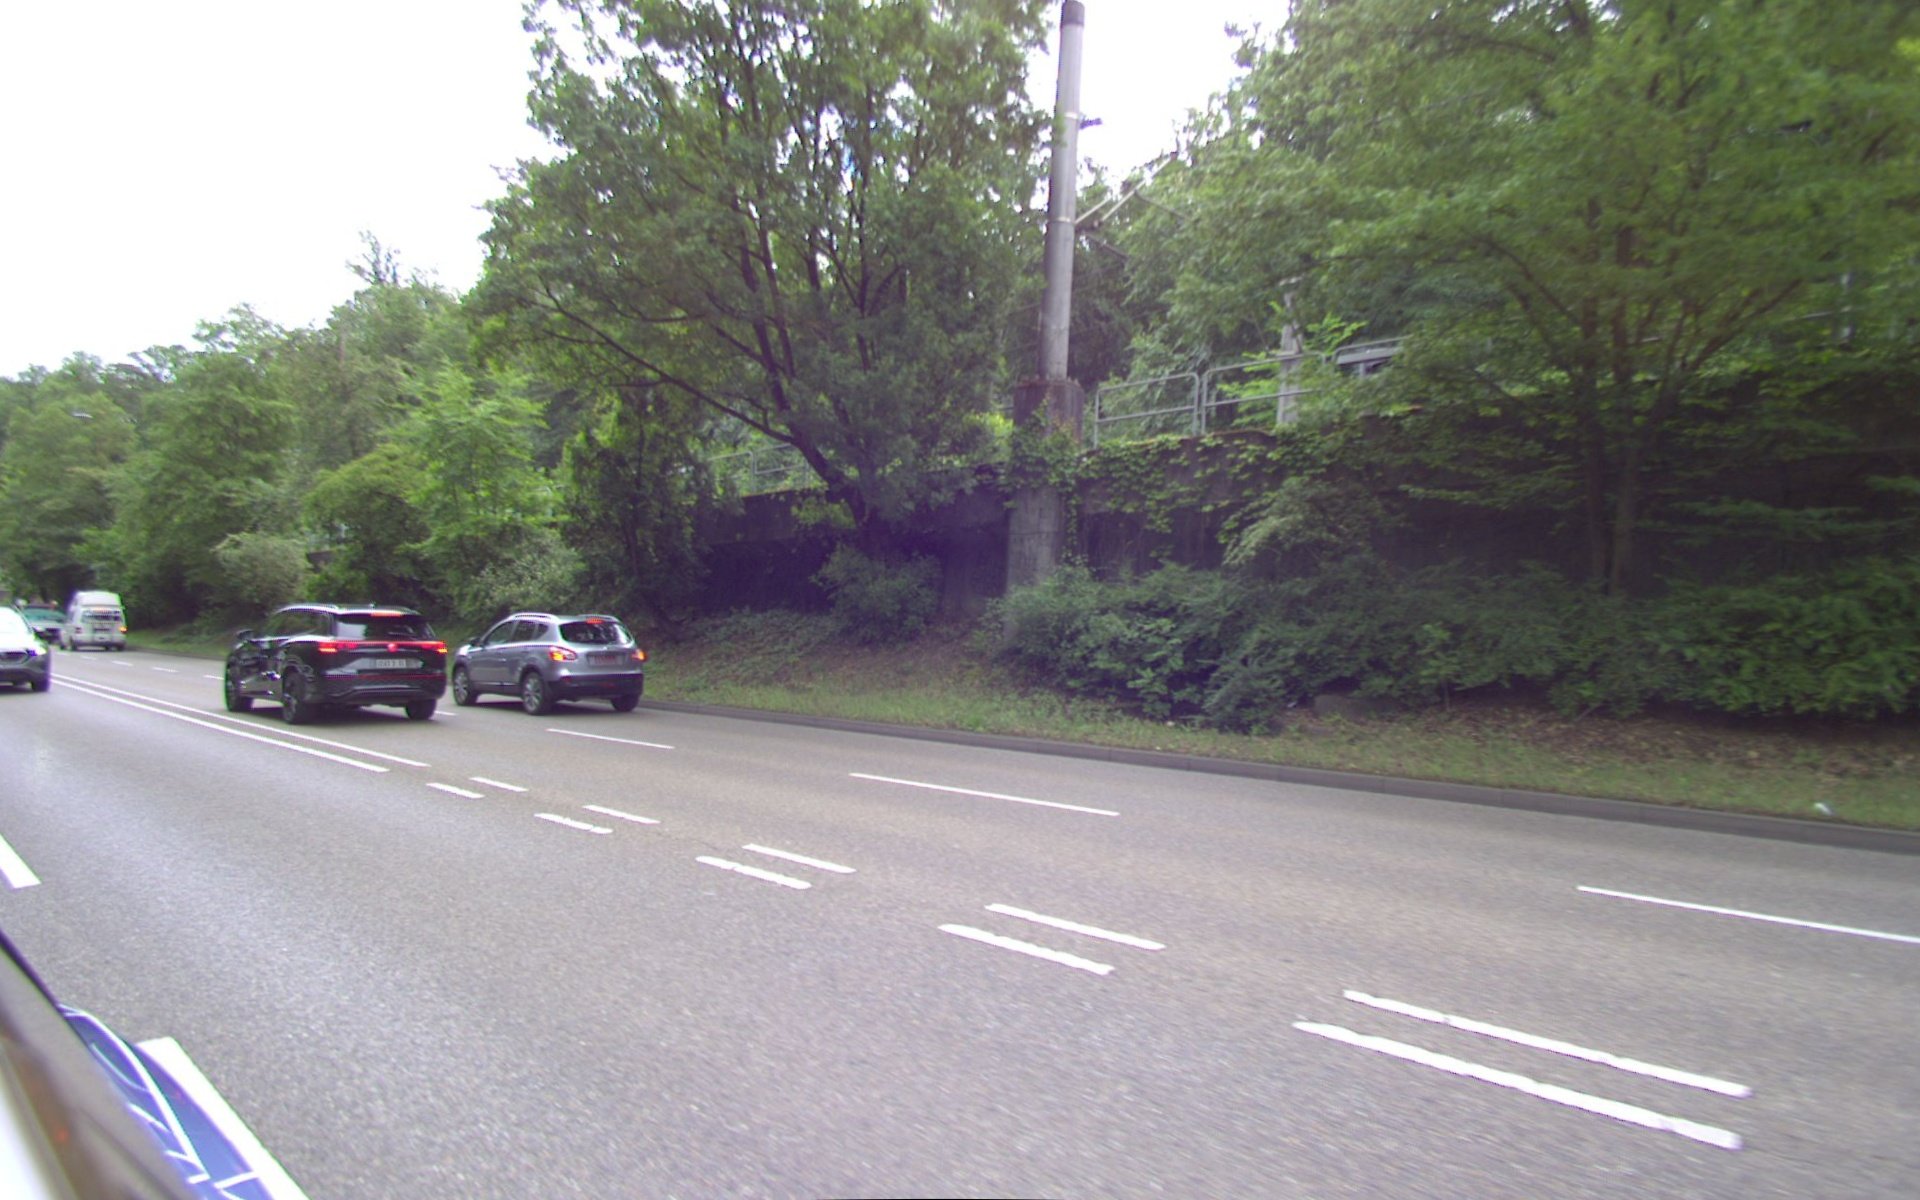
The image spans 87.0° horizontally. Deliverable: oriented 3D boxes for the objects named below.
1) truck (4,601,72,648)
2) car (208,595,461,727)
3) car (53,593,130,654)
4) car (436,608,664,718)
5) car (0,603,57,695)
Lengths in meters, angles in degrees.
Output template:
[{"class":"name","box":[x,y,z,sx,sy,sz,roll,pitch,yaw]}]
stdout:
[{"class":"truck","box":[-51.707,1.351,56.726,6.465,2.429,2.153,0,-4,43]},{"class":"car","box":[-9.423,0.855,15.077,4.828,1.674,1.791,-1,-4,41]},{"class":"car","box":[-39.115,1.041,45.561,4.913,2.575,1.867,0,-4,42]},{"class":"car","box":[-6.993,0.992,17.083,4.186,1.624,1.773,0,-3,40]},{"class":"car","box":[-19.159,0.898,19.672,4.190,1.675,1.847,0,-2,41]}]
